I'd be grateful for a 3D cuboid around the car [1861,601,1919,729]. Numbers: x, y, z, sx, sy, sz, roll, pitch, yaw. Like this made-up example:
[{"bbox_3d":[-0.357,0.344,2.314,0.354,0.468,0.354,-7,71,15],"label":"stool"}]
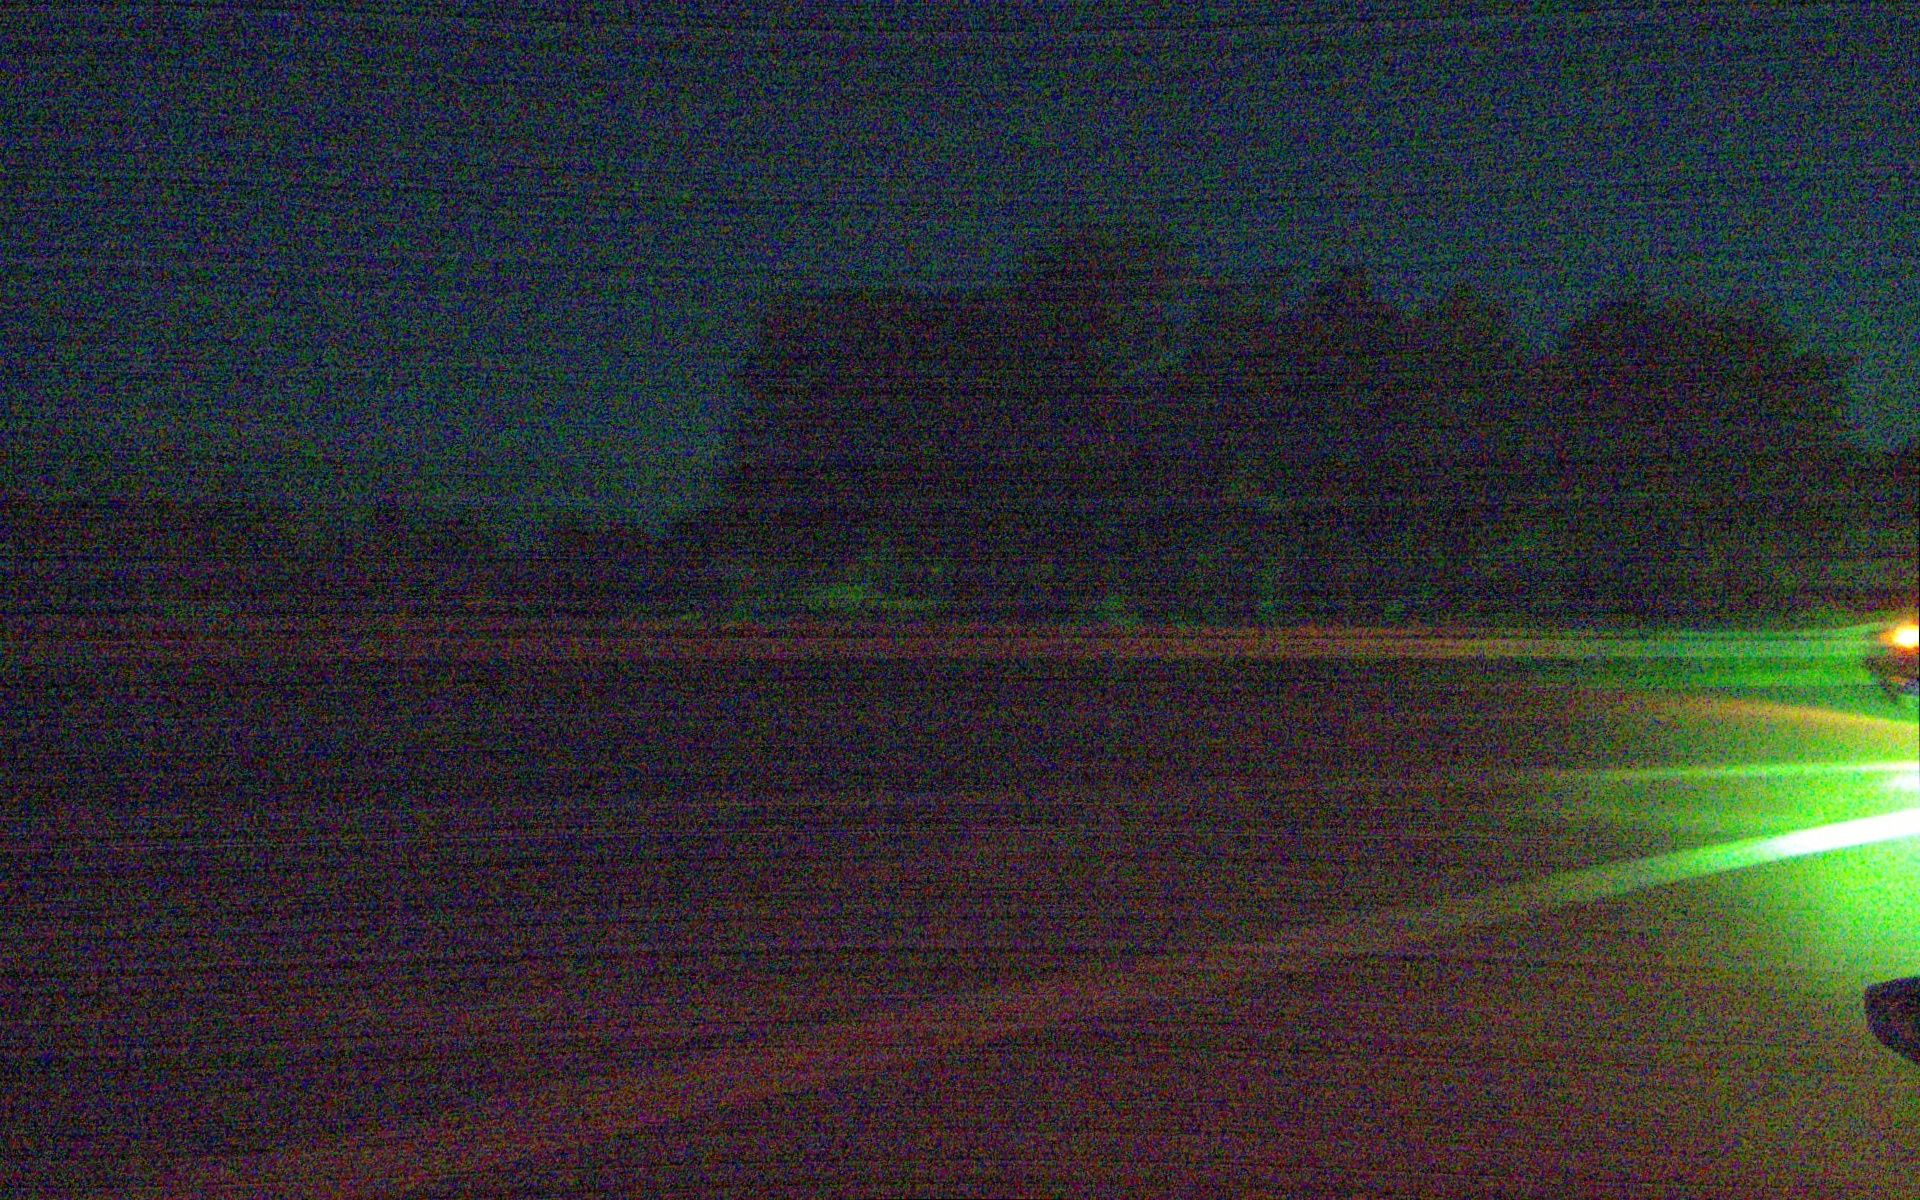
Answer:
[{"bbox_3d":[14.590,0.908,13.181,4.567,1.630,1.940,1,1,-16],"label":"car"}]
